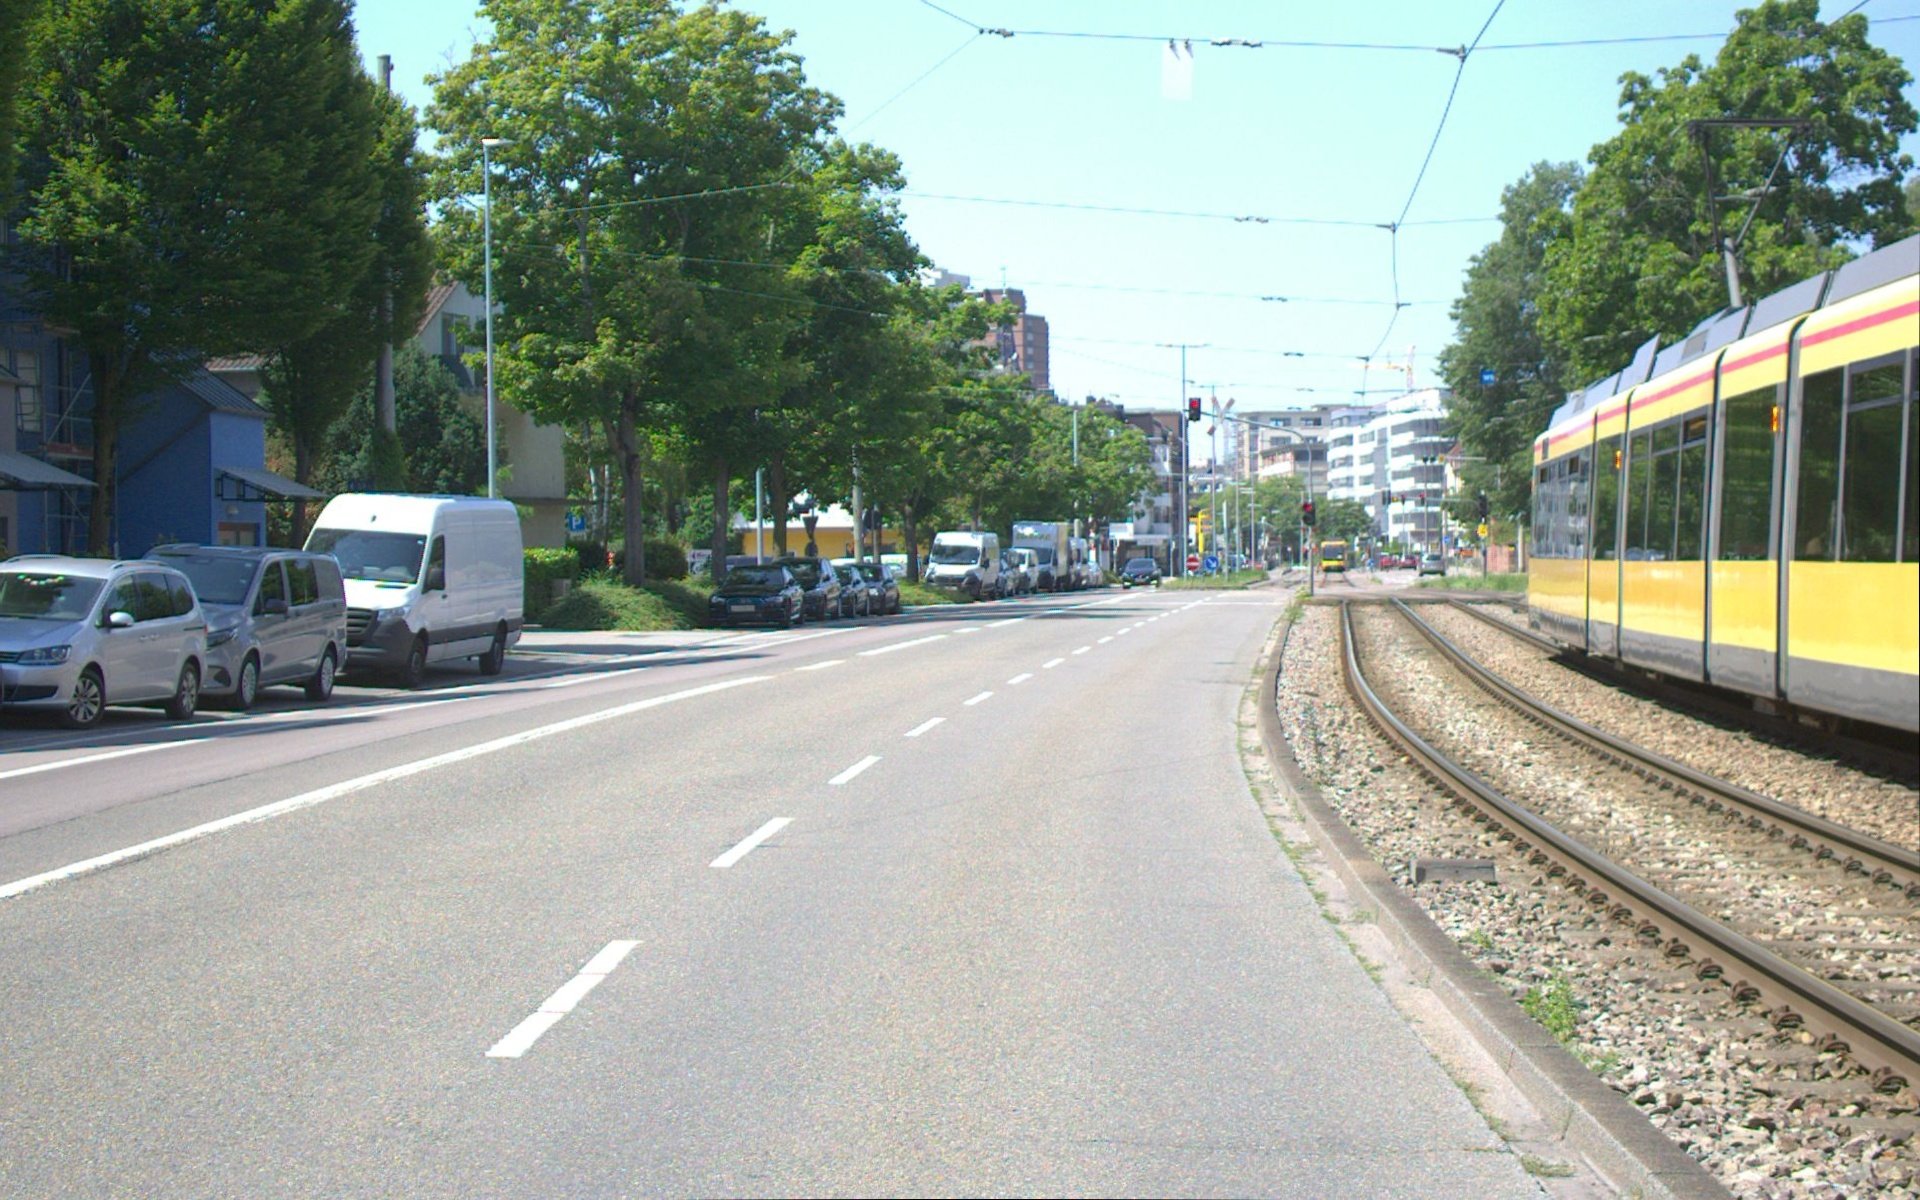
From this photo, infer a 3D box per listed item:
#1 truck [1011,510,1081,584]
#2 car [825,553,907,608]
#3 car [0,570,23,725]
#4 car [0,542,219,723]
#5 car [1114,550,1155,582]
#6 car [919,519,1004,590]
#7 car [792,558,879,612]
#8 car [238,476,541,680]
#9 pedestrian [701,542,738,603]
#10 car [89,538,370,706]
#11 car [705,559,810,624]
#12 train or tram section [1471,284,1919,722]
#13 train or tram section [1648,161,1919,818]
[{"bbox_3d":[3.941,-2.404,155.903,2.157,3.199,7.080,3,1,9],"label":"truck"},{"bbox_3d":[-2.668,-0.575,98.368,1.775,1.475,4.047,1,1,6],"label":"car"},{"bbox_3d":[-9.972,0.492,31.192,1.598,1.466,4.087,-1,1,3],"label":"car"},{"bbox_3d":[-9.348,0.284,36.275,1.717,1.746,4.903,-1,1,3],"label":"car"},{"bbox_3d":[8.376,-1.654,164.976,1.775,1.455,4.194,-2,1,5],"label":"car"},{"bbox_3d":[0.090,-1.694,128.019,2.157,2.478,6.191,3,1,9],"label":"car"},{"bbox_3d":[-3.361,-0.437,93.563,1.775,1.368,4.696,2,1,5],"label":"car"},{"bbox_3d":[-8.192,-0.363,50.230,2.324,2.642,7.033,4,1,7],"label":"car"},{"bbox_3d":[-7.262,-0.843,103.777,0.974,1.817,0.794,-1,1,4],"label":"pedestrian"},{"bbox_3d":[-8.806,0.204,41.951,1.807,1.889,5.361,-1,1,6],"label":"car"},{"bbox_3d":[-4.707,-0.213,80.384,1.775,1.451,4.803,0,1,5],"label":"car"},{"bbox_3d":[8.073,-0.989,39.083,2.944,3.679,20.281,1,1,4],"label":"train or tram section"},{"bbox_3d":[6.882,-0.623,19.903,2.944,3.679,18.388,1,1,3],"label":"train or tram section"}]
